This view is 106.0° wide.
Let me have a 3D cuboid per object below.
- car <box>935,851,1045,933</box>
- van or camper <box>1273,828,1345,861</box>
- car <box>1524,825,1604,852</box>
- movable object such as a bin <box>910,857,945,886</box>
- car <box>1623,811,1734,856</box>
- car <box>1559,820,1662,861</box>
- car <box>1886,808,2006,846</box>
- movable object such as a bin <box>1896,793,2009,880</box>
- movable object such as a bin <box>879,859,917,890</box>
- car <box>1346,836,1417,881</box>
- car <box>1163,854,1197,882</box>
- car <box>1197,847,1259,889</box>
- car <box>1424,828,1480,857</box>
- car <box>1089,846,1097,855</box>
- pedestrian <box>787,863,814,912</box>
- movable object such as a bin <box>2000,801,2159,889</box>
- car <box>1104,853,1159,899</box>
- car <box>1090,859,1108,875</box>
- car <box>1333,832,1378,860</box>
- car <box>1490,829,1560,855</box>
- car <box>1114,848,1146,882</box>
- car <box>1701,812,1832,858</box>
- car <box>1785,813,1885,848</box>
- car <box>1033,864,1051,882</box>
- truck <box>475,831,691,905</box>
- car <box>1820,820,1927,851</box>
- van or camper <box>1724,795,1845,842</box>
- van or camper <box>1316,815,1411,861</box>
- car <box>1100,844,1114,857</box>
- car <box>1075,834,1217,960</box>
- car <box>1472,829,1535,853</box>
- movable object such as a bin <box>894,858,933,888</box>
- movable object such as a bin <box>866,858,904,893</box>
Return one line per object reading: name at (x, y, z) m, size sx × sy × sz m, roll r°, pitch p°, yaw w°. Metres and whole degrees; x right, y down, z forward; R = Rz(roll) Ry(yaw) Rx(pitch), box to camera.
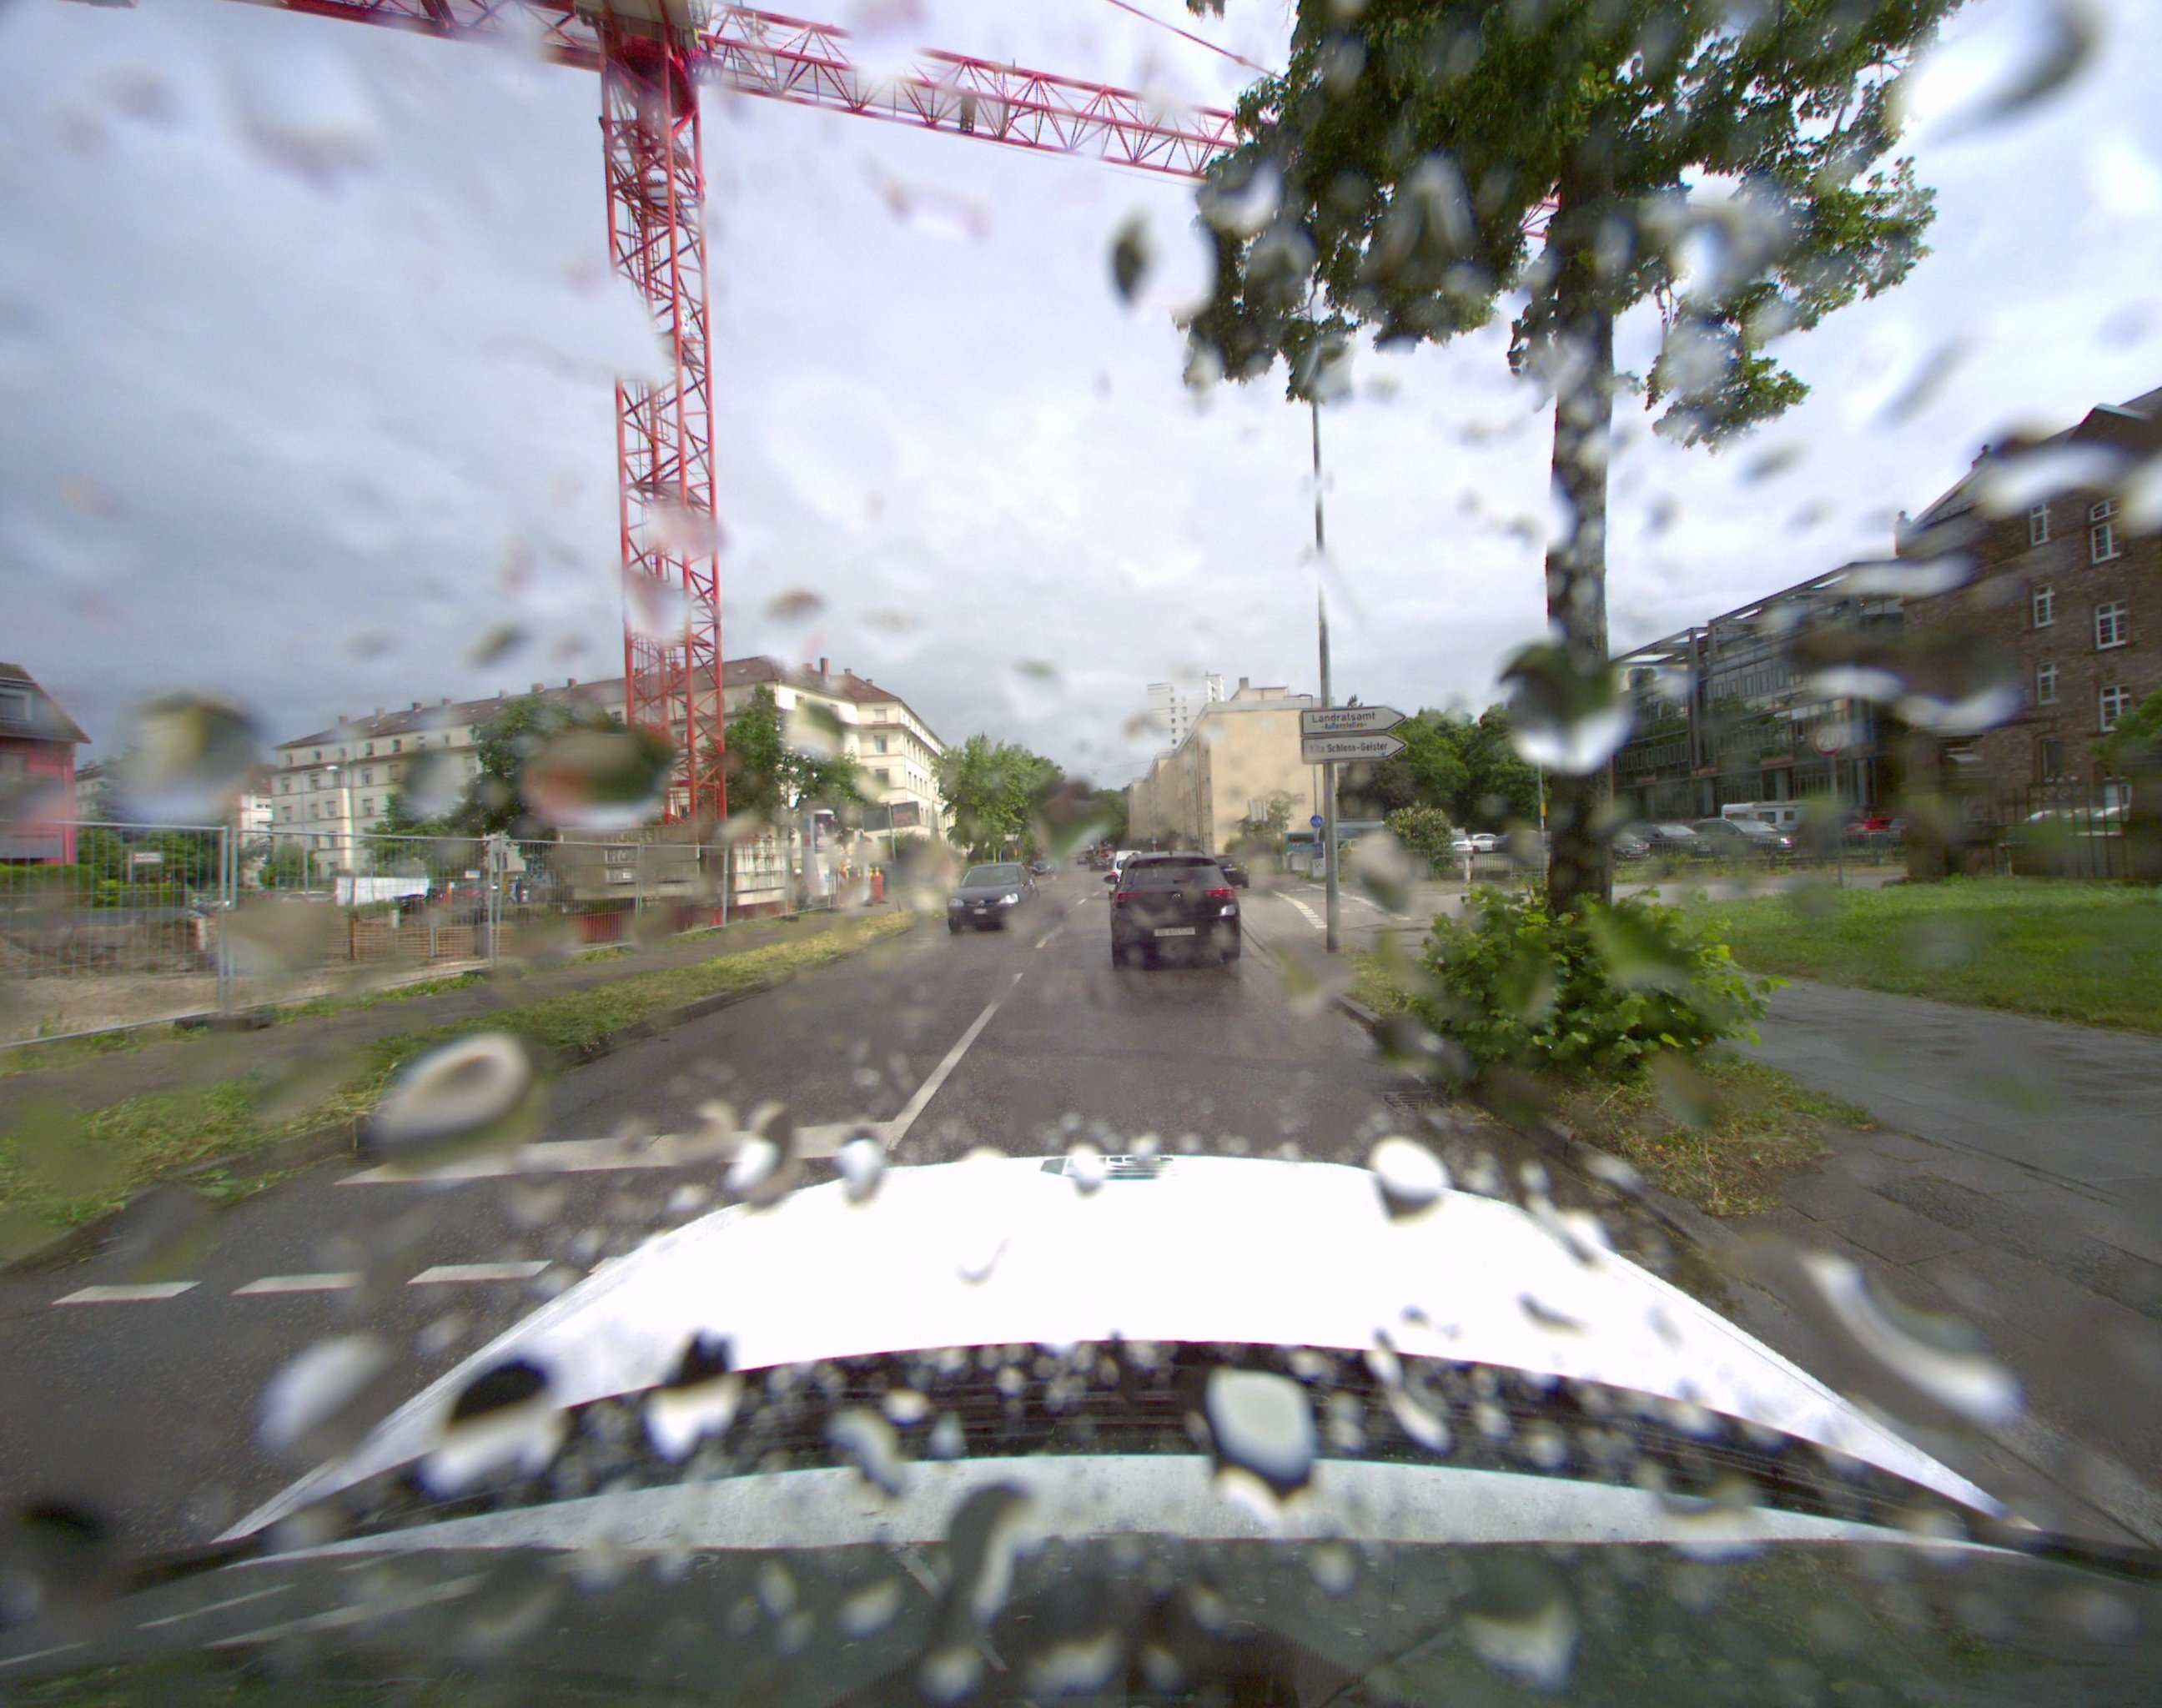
car at (-2.017, 0.807, 19.281) m, size 1.833 × 1.608 × 4.003 m, roll -4°, pitch 0°, yaw 3°
van or camper at (16.758, -0.697, 60.069) m, size 4.736 × 2.131 × 2.325 m, roll -2°, pitch 0°, yaw 5°
car at (30.485, -0.973, 51.456) m, size 3.957 × 1.465 × 1.674 m, roll -3°, pitch 0°, yaw 3°
movable object such as a bin at (-9.586, 1.089, 50.876) m, size 1.524 × 1.662 × 1.466 m, roll -3°, pitch 0°, yaw 21°
car at (25.053, -0.807, 34.358) m, size 1.843 × 1.679 × 4.433 m, roll -3°, pitch 0°, yaw 8°
car at (22.118, -0.548, 34.251) m, size 1.819 × 1.527 × 4.432 m, roll -3°, pitch 0°, yaw 7°
car at (40.309, -1.240, 38.018) m, size 3.651 × 1.524 × 1.674 m, roll -3°, pitch 0°, yaw 3°
movable object such as a bin at (15.681, -0.314, 14.691) m, size 0.796 × 1.457 × 1.098 m, roll -4°, pitch 0°, yaw 3°
movable object such as a bin at (-10.740, 1.197, 47.824) m, size 1.524 × 1.656 × 1.536 m, roll -3°, pitch 0°, yaw 21°
car at (13.222, 0.189, 36.069) m, size 1.796 × 1.750 × 4.243 m, roll -3°, pitch 0°, yaw 4°
car at (5.588, 0.818, 46.303) m, size 1.749 × 1.528 × 4.004 m, roll -1°, pitch -2°, yaw 4°
car at (6.172, 0.570, 34.698) m, size 1.768 × 1.539 × 4.378 m, roll -5°, pitch 0°, yaw 1°
car at (20.660, -0.627, 45.487) m, size 1.641 × 1.486 × 3.723 m, roll -3°, pitch 0°, yaw 5°
car at (2.643, -0.702, 177.073) m, size 1.660 × 1.837 × 3.999 m, roll -3°, pitch 0°, yaw 0°
pedestrian at (-9.608, 1.130, 27.869) m, size 0.727 × 1.630 × 0.676 m, roll 0°, pitch -2°, yaw -36°
movable object such as a bin at (18.081, -0.160, 14.806) m, size 1.101 × 1.457 × 1.392 m, roll -4°, pitch 0°, yaw 3°
car at (1.762, 0.761, 29.023) m, size 1.806 × 1.503 × 4.002 m, roll -1°, pitch -1°, yaw 2°
car at (1.874, 1.365, 85.587) m, size 1.600 × 1.510 × 3.545 m, roll -4°, pitch 0°, yaw -2°
car at (15.481, -0.438, 46.095) m, size 1.603 × 1.449 × 3.421 m, roll -3°, pitch 0°, yaw 5°
car at (29.469, -0.763, 54.127) m, size 3.649 × 1.486 × 1.642 m, roll -3°, pitch 0°, yaw 5°
car at (3.082, 0.708, 51.587) m, size 1.830 × 2.103 × 4.000 m, roll -1°, pitch -1°, yaw 1°
car at (28.207, -0.745, 33.712) m, size 1.845 × 1.679 × 4.428 m, roll -3°, pitch 0°, yaw 4°
car at (40.043, -1.239, 43.311) m, size 3.651 × 1.576 × 1.674 m, roll -3°, pitch 0°, yaw 3°
car at (-3.565, 1.730, 75.022) m, size 1.582 × 1.505 × 4.061 m, roll -4°, pitch 0°, yaw -2°
truck at (-25.894, 0.718, 42.431) m, size 9.738 × 3.184 × 3.808 m, roll -3°, pitch 0°, yaw 15°
car at (39.523, -0.919, 40.701) m, size 3.651 × 1.486 × 1.674 m, roll 0°, pitch 0°, yaw 3°
van or camper at (39.469, -1.948, 45.781) m, size 4.768 × 2.486 × 2.258 m, roll -1°, pitch -1°, yaw 1°
van or camper at (17.143, -0.940, 49.598) m, size 4.977 × 2.554 × 2.176 m, roll -2°, pitch -1°, yaw 3°
car at (3.689, -0.461, 114.092) m, size 1.833 × 1.608 × 3.678 m, roll -4°, pitch 0°, yaw 3°
car at (0.932, 0.601, 12.861) m, size 1.866 × 1.645 × 4.063 m, roll -1°, pitch -1°, yaw 2°
car at (30.681, -0.945, 59.231) m, size 3.649 × 1.486 × 1.642 m, roll -3°, pitch 0°, yaw 5°
movable object such as a bin at (-10.147, 1.154, 49.372) m, size 1.524 × 1.674 × 1.674 m, roll -3°, pitch 0°, yaw 21°
movable object such as a bin at (-11.151, 1.208, 46.292) m, size 1.524 × 1.824 × 1.270 m, roll -3°, pitch 0°, yaw 21°
